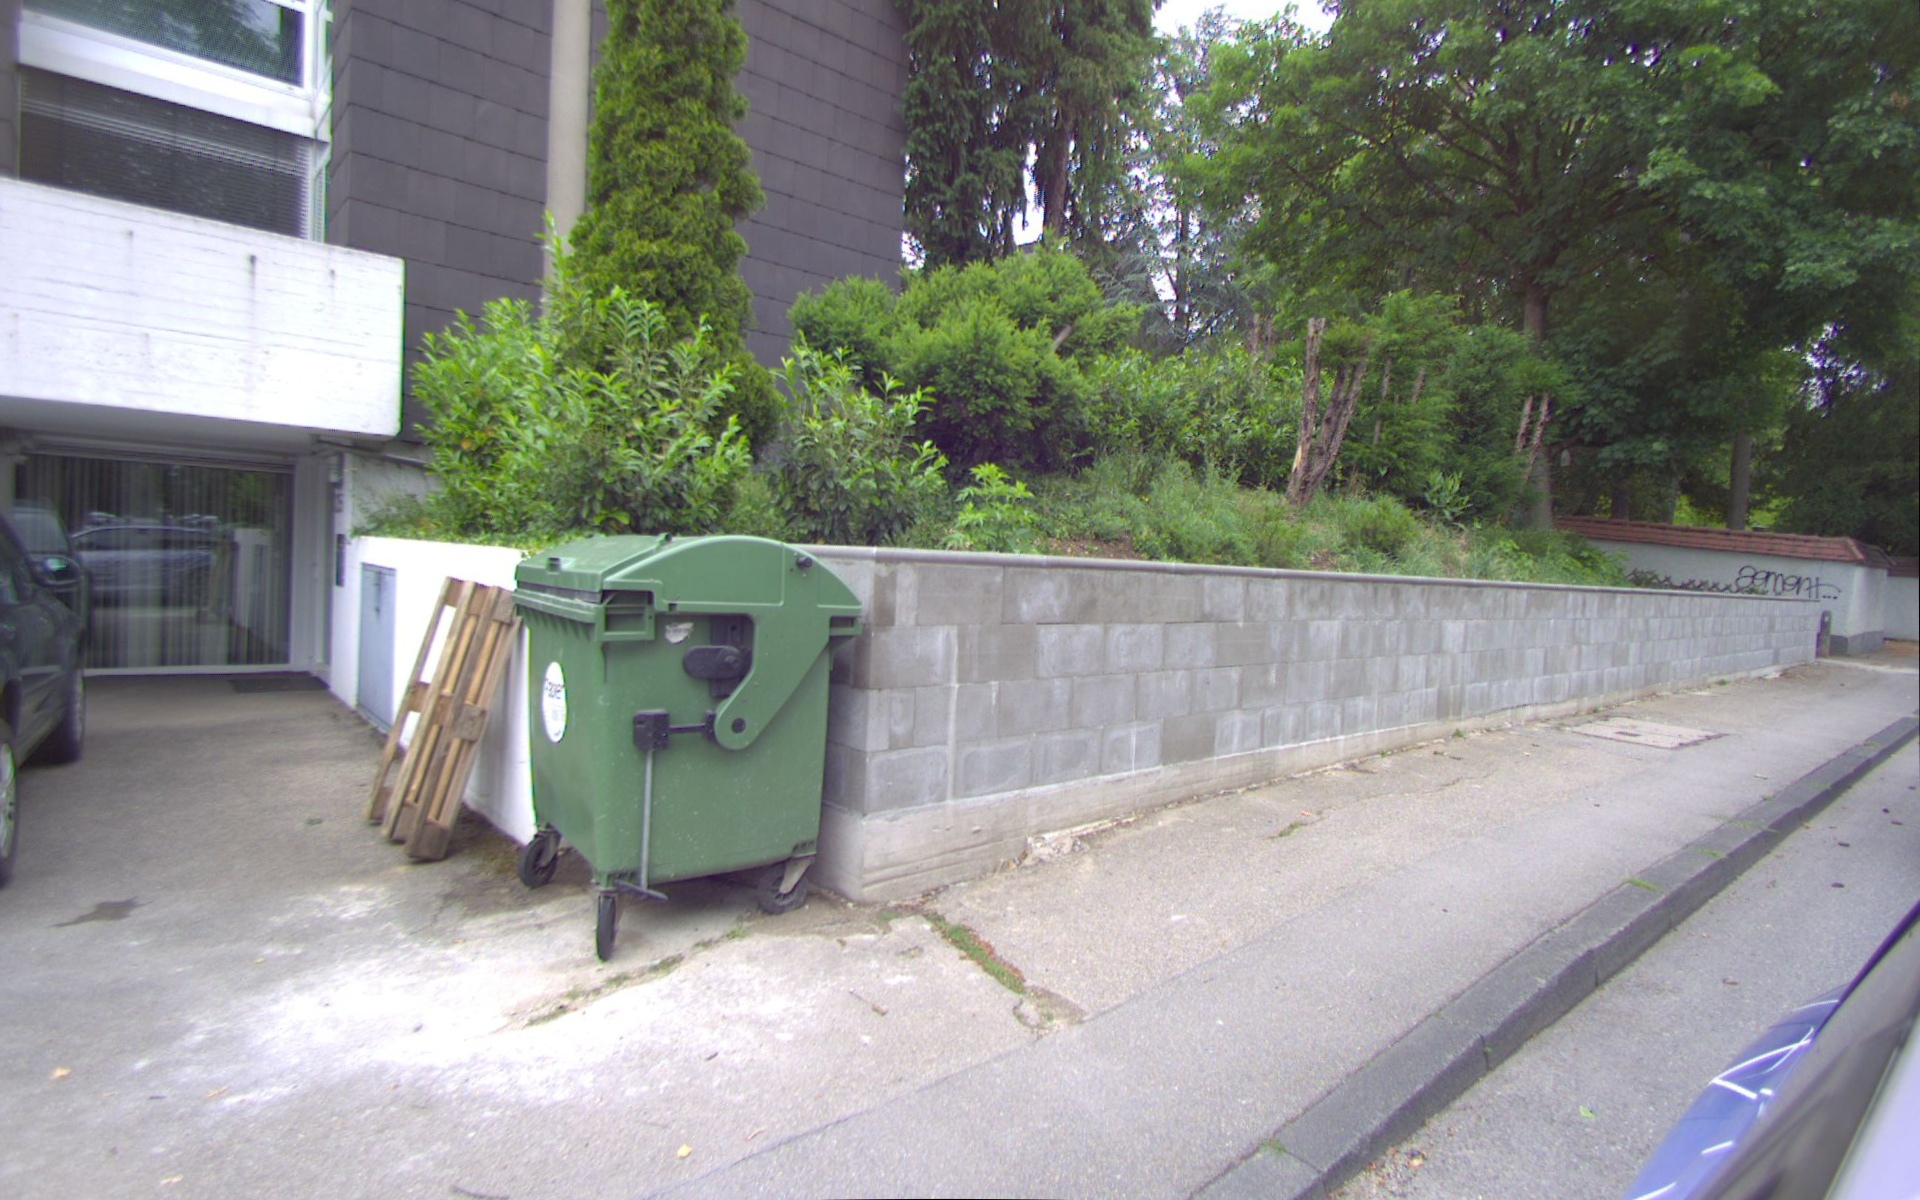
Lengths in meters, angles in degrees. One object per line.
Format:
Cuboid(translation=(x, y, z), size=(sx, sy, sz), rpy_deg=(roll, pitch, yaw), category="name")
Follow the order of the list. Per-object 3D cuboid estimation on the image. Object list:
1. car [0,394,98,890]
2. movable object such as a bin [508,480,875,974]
Cuboid(translation=(-5.060, 0.081, 4.325), size=(1.798, 1.771, 3.987), rpy_deg=(0, 3, -36), category="car")
Cuboid(translation=(-1.053, 0.375, 3.892), size=(1.014, 1.549, 1.037), rpy_deg=(0, 2, -39), category="movable object such as a bin")
